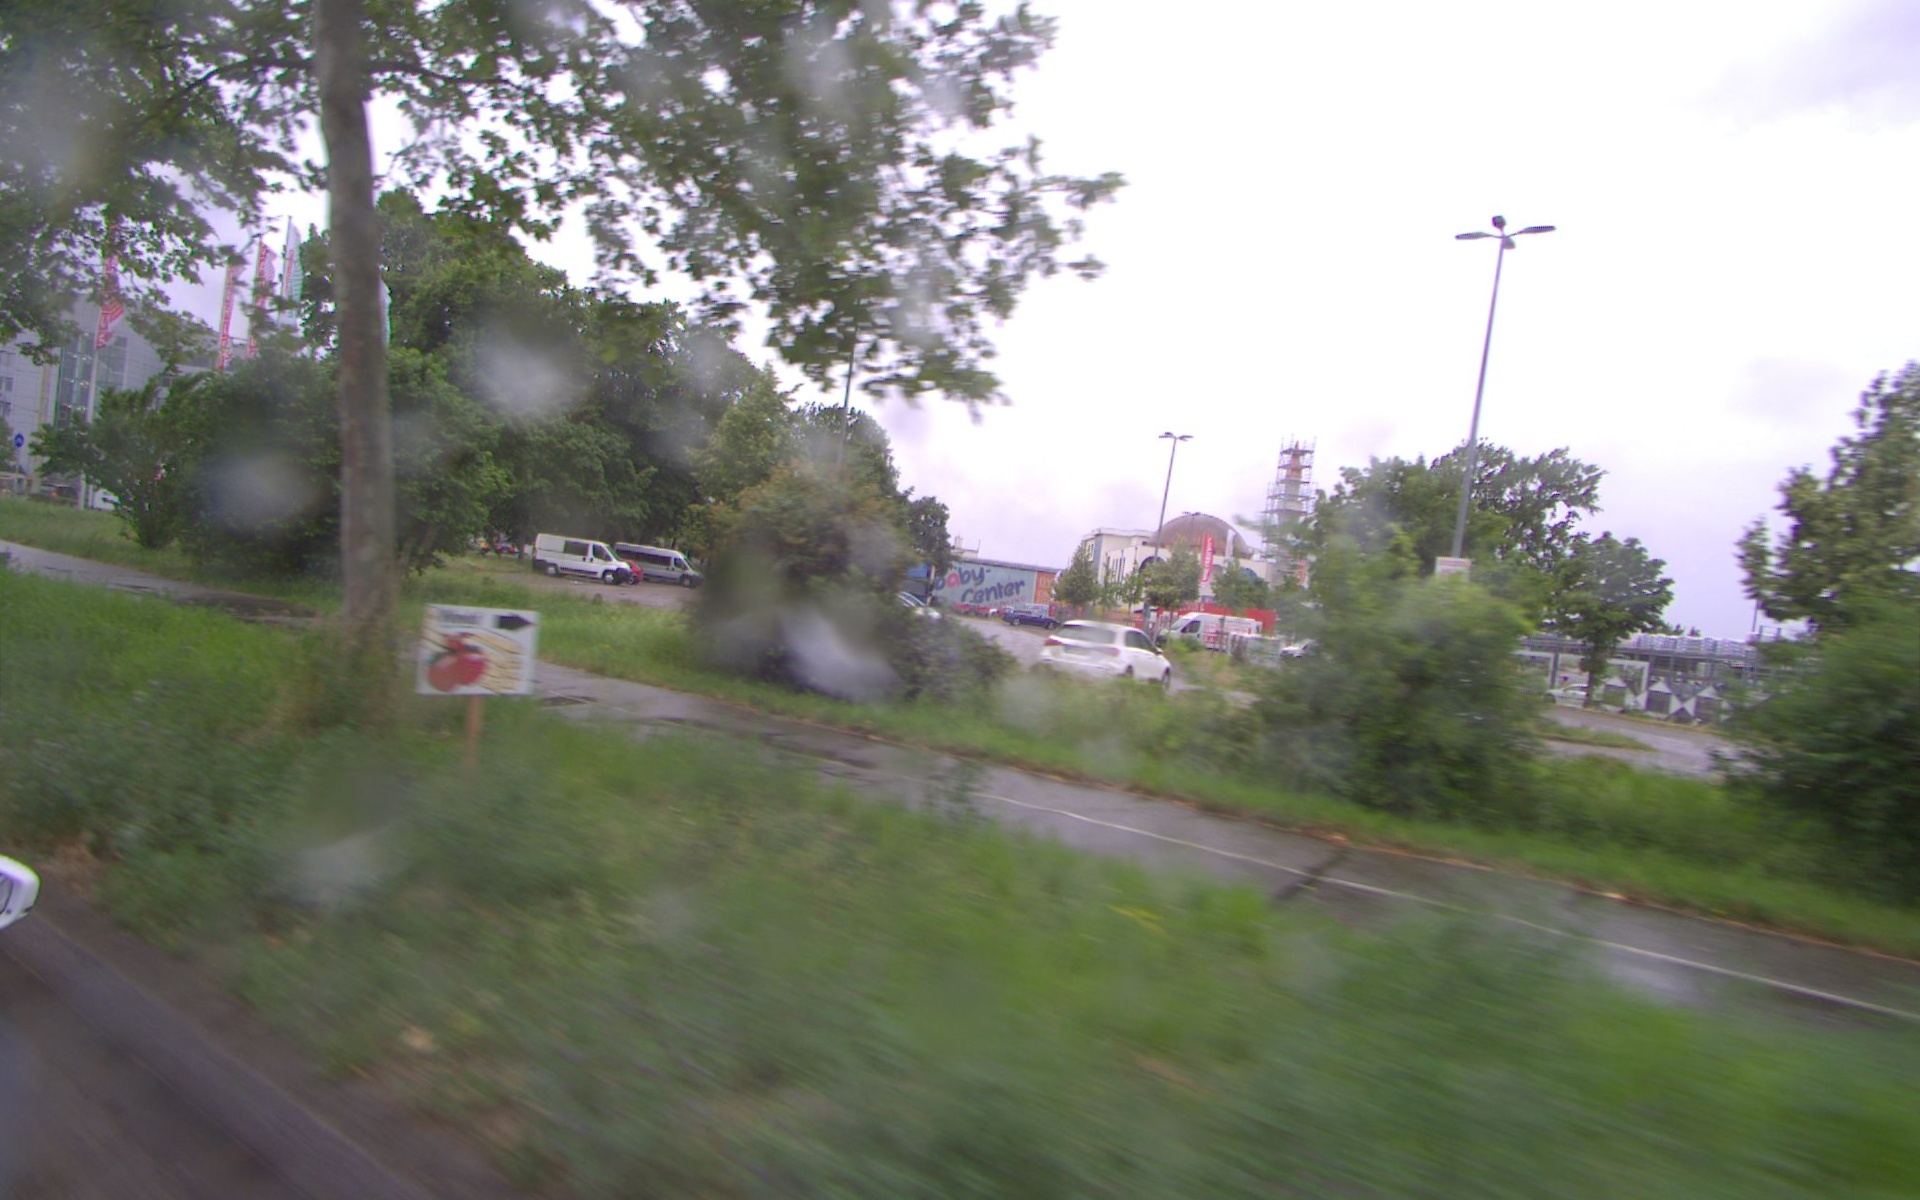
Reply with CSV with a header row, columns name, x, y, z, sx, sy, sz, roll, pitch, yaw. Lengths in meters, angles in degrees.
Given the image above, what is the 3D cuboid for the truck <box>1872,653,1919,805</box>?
name,x,y,z,sx,sy,sz,roll,pitch,yaw
truck,15.084,1.923,13.437,2.180,2.330,6.554,6,-2,24

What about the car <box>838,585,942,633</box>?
name,x,y,z,sx,sy,sz,roll,pitch,yaw
car,-2.776,0.385,40.287,3.928,1.380,2.000,7,-2,-3

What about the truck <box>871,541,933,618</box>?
name,x,y,z,sx,sy,sz,roll,pitch,yaw
truck,-3.441,-1.075,58.956,2.950,3.856,8.285,7,-1,-4

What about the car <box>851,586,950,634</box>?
name,x,y,z,sx,sy,sz,roll,pitch,yaw
car,-2.518,0.450,42.807,3.928,1.514,2.000,7,-2,-3

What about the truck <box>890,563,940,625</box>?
name,x,y,z,sx,sy,sz,roll,pitch,yaw
truck,-3.326,-0.346,72.469,2.950,3.856,8.953,7,-1,-4

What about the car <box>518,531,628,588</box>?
name,x,y,z,sx,sy,sz,roll,pitch,yaw
car,-19.876,-2.058,51.870,4.833,2.177,1.805,7,-2,-9

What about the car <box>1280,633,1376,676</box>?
name,x,y,z,sx,sy,sz,roll,pitch,yaw
car,24.820,3.672,68.042,5.563,2.168,2.002,7,-1,5

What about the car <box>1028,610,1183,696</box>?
name,x,y,z,sx,sy,sz,roll,pitch,yaw
car,3.091,1.149,20.697,1.836,1.380,3.998,6,-2,27

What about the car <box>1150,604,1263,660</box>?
name,x,y,z,sx,sy,sz,roll,pitch,yaw
car,13.796,1.798,56.444,5.572,2.362,1.999,7,-1,-6

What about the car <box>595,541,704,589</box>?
name,x,y,z,sx,sy,sz,roll,pitch,yaw
car,-21.624,-2.413,70.350,6.702,2.464,2.327,7,0,-4
